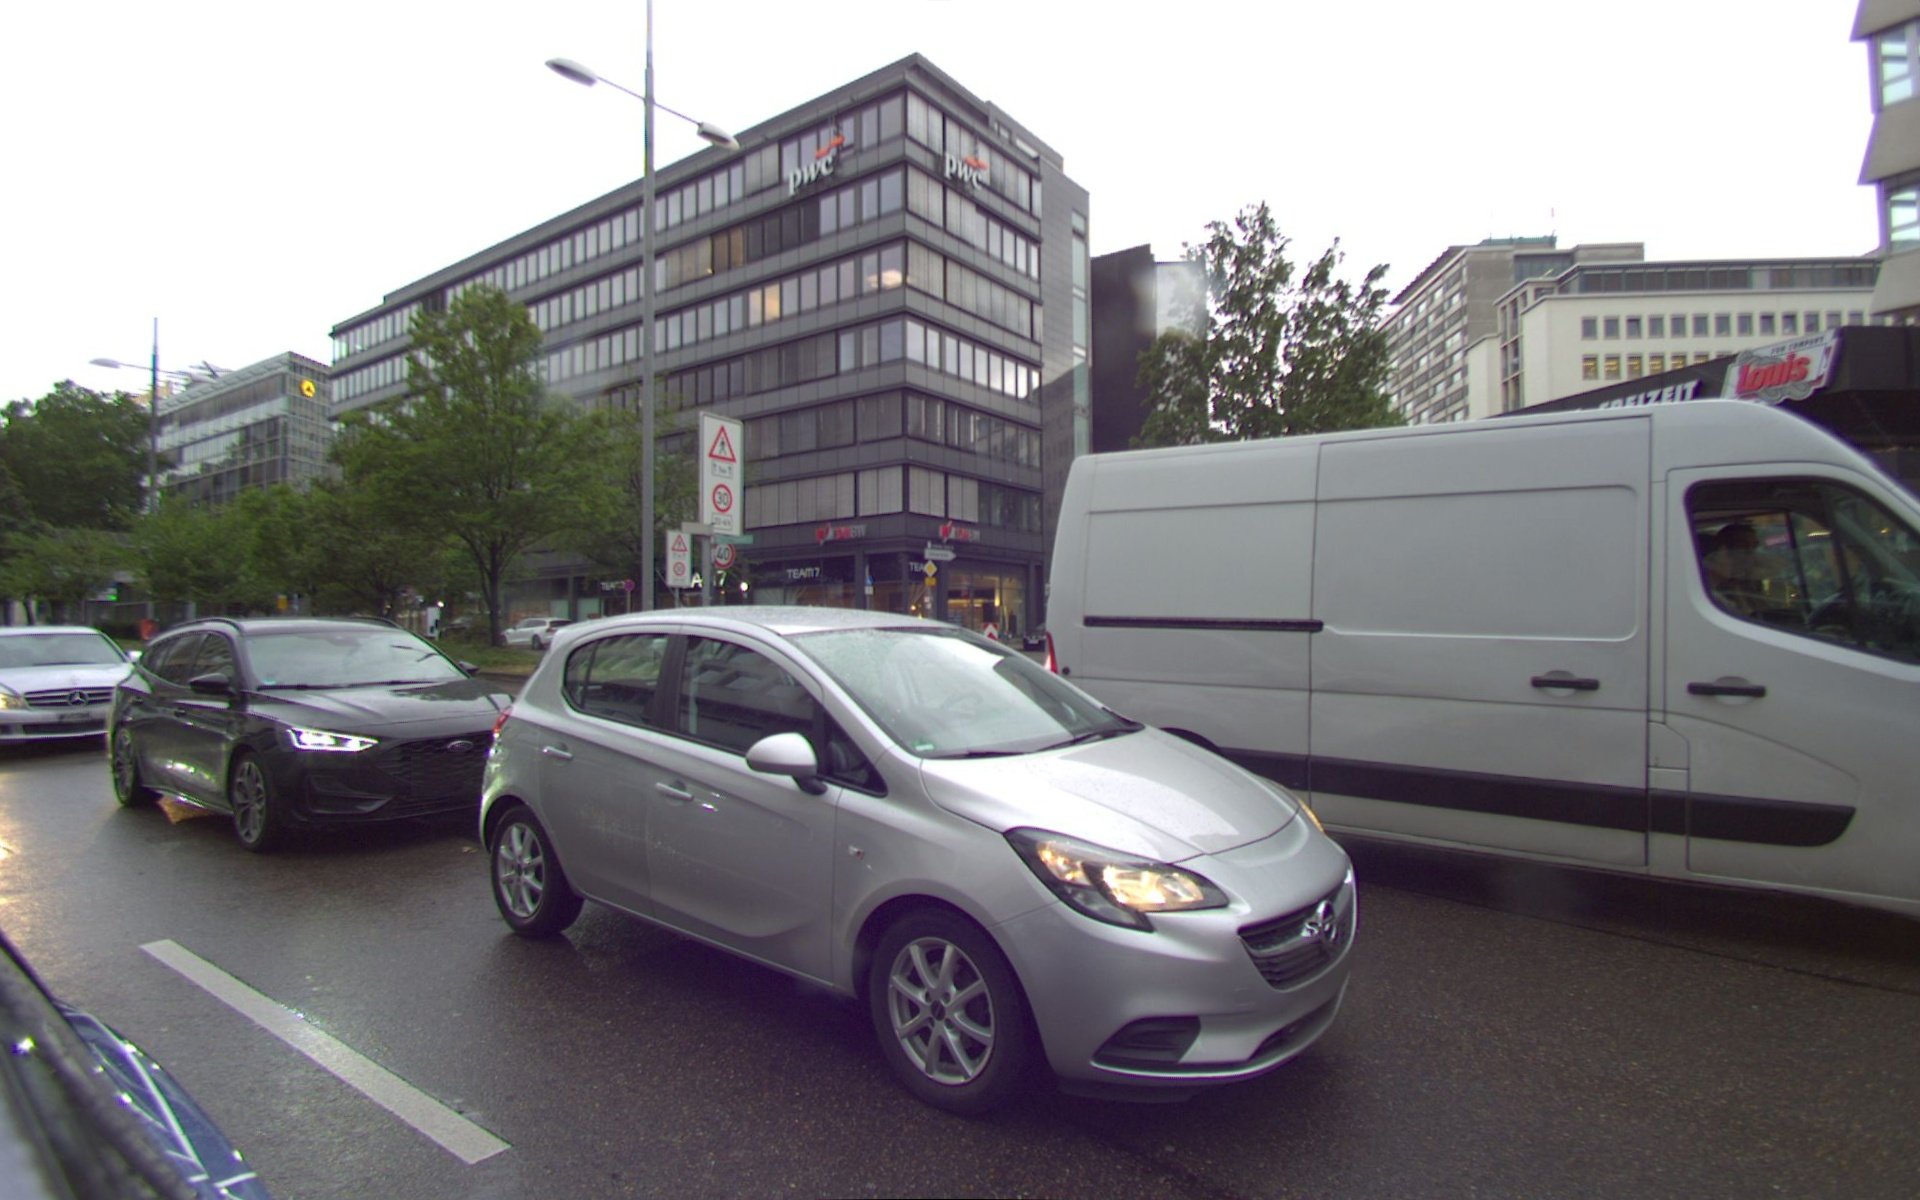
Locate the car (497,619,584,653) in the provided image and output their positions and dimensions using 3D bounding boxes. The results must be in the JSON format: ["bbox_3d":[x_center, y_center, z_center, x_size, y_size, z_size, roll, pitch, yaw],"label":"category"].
[{"bbox_3d":[-19.651,1.673,47.364,3.992,1.518,1.976,-2,-1,36],"label":"car"}]

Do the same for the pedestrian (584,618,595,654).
[{"bbox_3d":[-21.050,2.062,57.528,0.296,2.029,0.534,-1,-1,35],"label":"pedestrian"}]

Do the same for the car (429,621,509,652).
[{"bbox_3d":[-24.846,1.835,51.207,4.099,1.518,1.976,-2,-1,36],"label":"car"}]

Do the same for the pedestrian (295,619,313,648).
[{"bbox_3d":[-46.413,2.371,71.579,0.539,2.029,0.917,-2,-1,39],"label":"pedestrian"}]

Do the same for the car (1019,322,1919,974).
[{"bbox_3d":[3.146,0.205,5.362,5.469,2.459,1.929,-1,-1,36],"label":"car"}]

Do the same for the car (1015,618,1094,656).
[{"bbox_3d":[4.301,1.619,45.623,1.847,1.596,3.716,-2,-1,37],"label":"car"}]

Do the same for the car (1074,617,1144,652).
[{"bbox_3d":[7.329,1.679,49.624,1.847,1.596,3.716,-2,-1,37],"label":"car"}]

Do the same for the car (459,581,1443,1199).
[{"bbox_3d":[-0.339,0.717,4.123,3.871,1.446,1.631,-2,-1,40],"label":"car"}]

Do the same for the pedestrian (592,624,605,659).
[{"bbox_3d":[-21.092,2.396,59.005,0.460,2.029,0.568,-1,-1,35],"label":"pedestrian"}]

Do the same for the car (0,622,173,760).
[{"bbox_3d":[-11.174,0.997,12.247,4.090,1.391,1.754,-2,-1,39],"label":"car"}]

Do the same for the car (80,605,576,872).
[{"bbox_3d":[-4.802,0.804,7.484,4.087,1.446,1.755,-1,-1,37],"label":"car"}]

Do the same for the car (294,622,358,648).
[{"bbox_3d":[-38.207,2.104,60.998,3.992,1.518,1.976,-2,-1,36],"label":"car"}]

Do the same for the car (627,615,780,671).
[{"bbox_3d":[-6.995,1.143,27.520,3.985,1.383,1.733,-1,-1,31],"label":"car"}]
